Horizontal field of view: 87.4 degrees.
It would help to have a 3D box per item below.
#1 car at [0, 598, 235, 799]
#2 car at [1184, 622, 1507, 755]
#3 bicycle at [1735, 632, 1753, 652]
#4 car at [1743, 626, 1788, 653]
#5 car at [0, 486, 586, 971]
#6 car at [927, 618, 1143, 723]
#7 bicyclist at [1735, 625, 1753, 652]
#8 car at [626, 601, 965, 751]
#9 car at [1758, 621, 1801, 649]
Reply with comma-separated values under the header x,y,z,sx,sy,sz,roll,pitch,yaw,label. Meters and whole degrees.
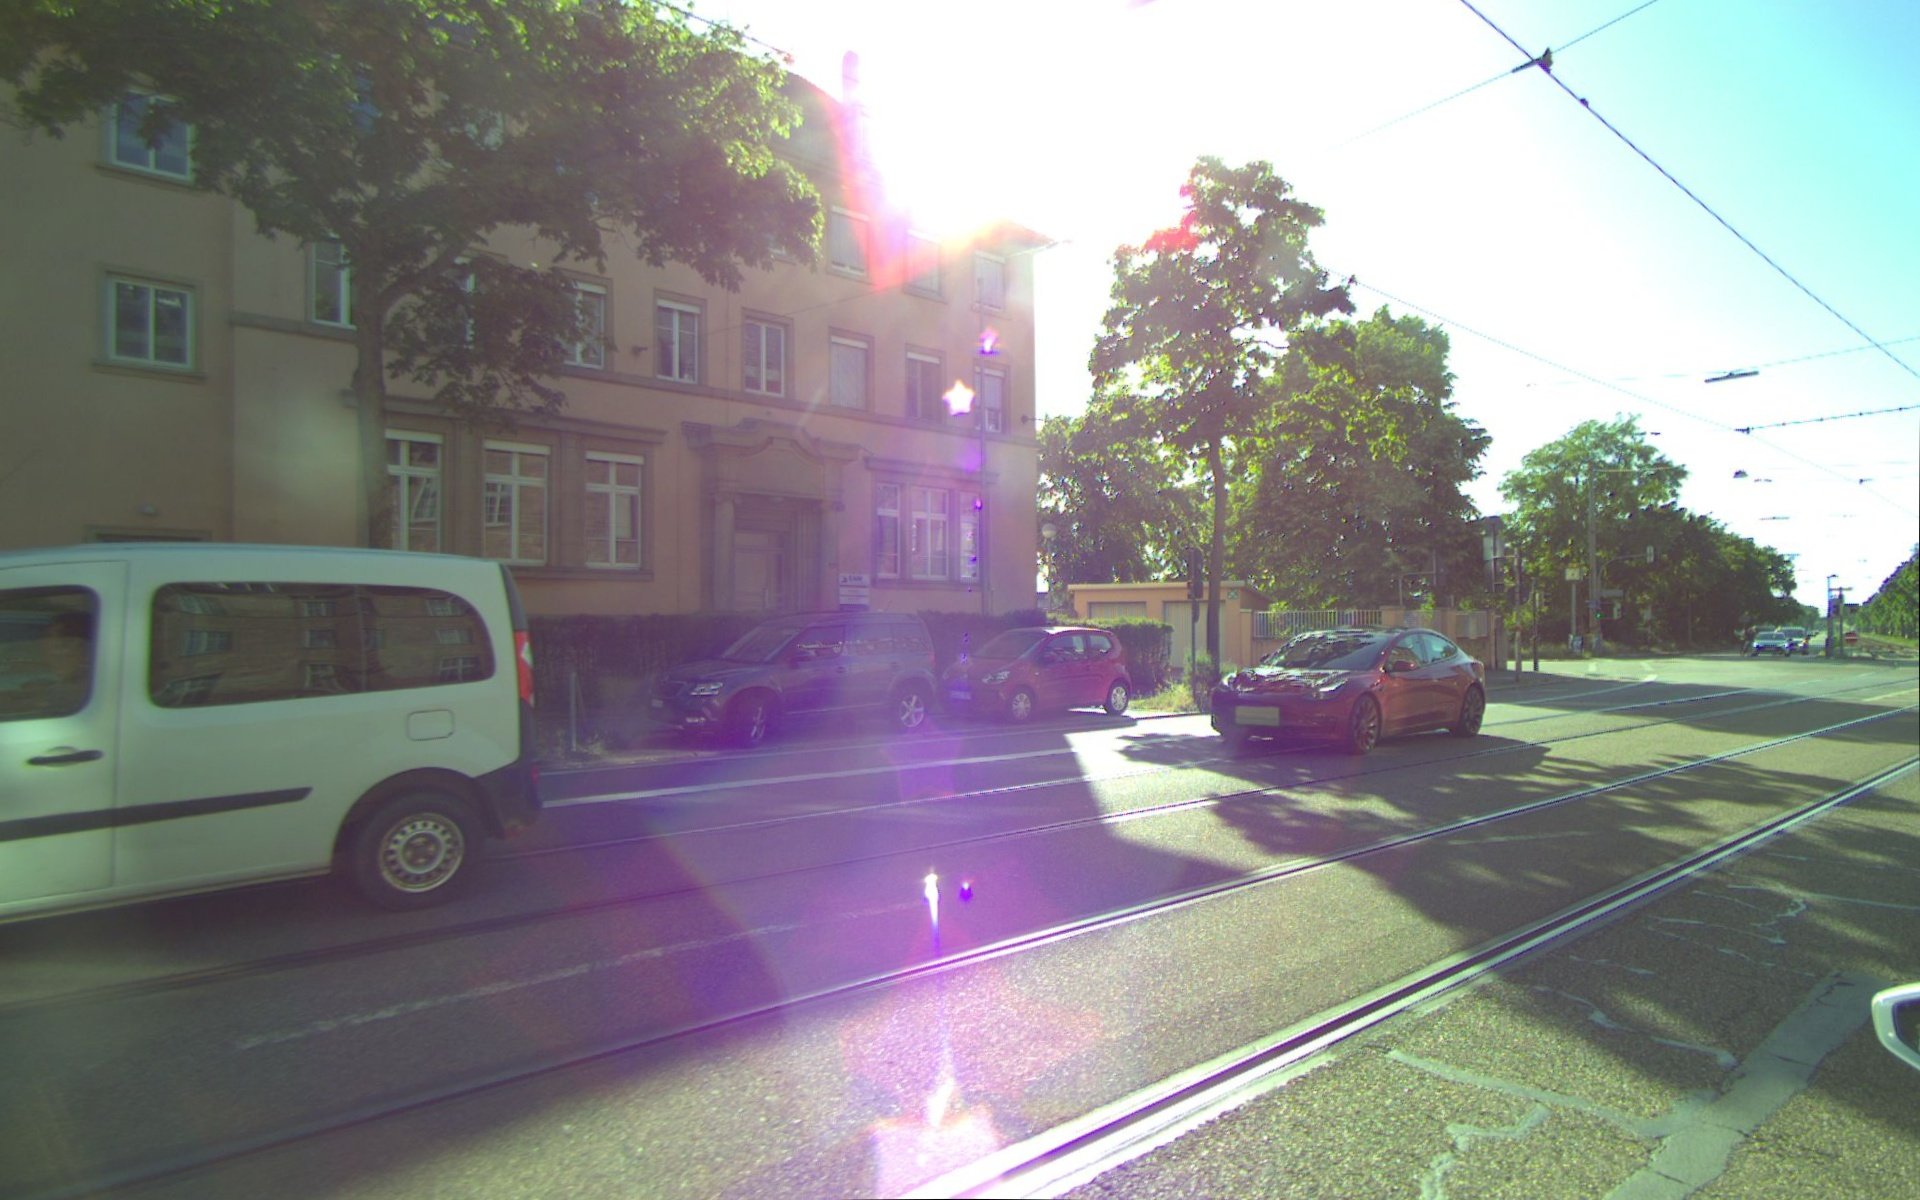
x,y,z,sx,sy,sz,roll,pitch,yaw,label
-8.696,0.792,8.478,4.038,1.590,1.730,1,1,-42,car
5.068,1.002,12.887,4.649,1.405,1.905,1,-2,-40,car
45.489,2.428,58.287,0.739,1.101,2.169,-1,-2,36,bicycle
48.266,2.340,60.248,1.969,1.524,3.984,-1,-2,38,car
-4.283,0.523,4.729,4.402,1.913,1.795,1,-2,-39,car
1.321,1.083,16.747,3.587,1.508,1.566,1,1,-43,car
45.464,2.210,58.246,0.739,1.524,0.961,-1,-1,36,bicyclist
-2.108,0.912,13.744,4.360,1.682,1.728,1,1,-43,car
52.818,2.239,64.794,1.969,1.784,3.984,-1,-2,38,car
